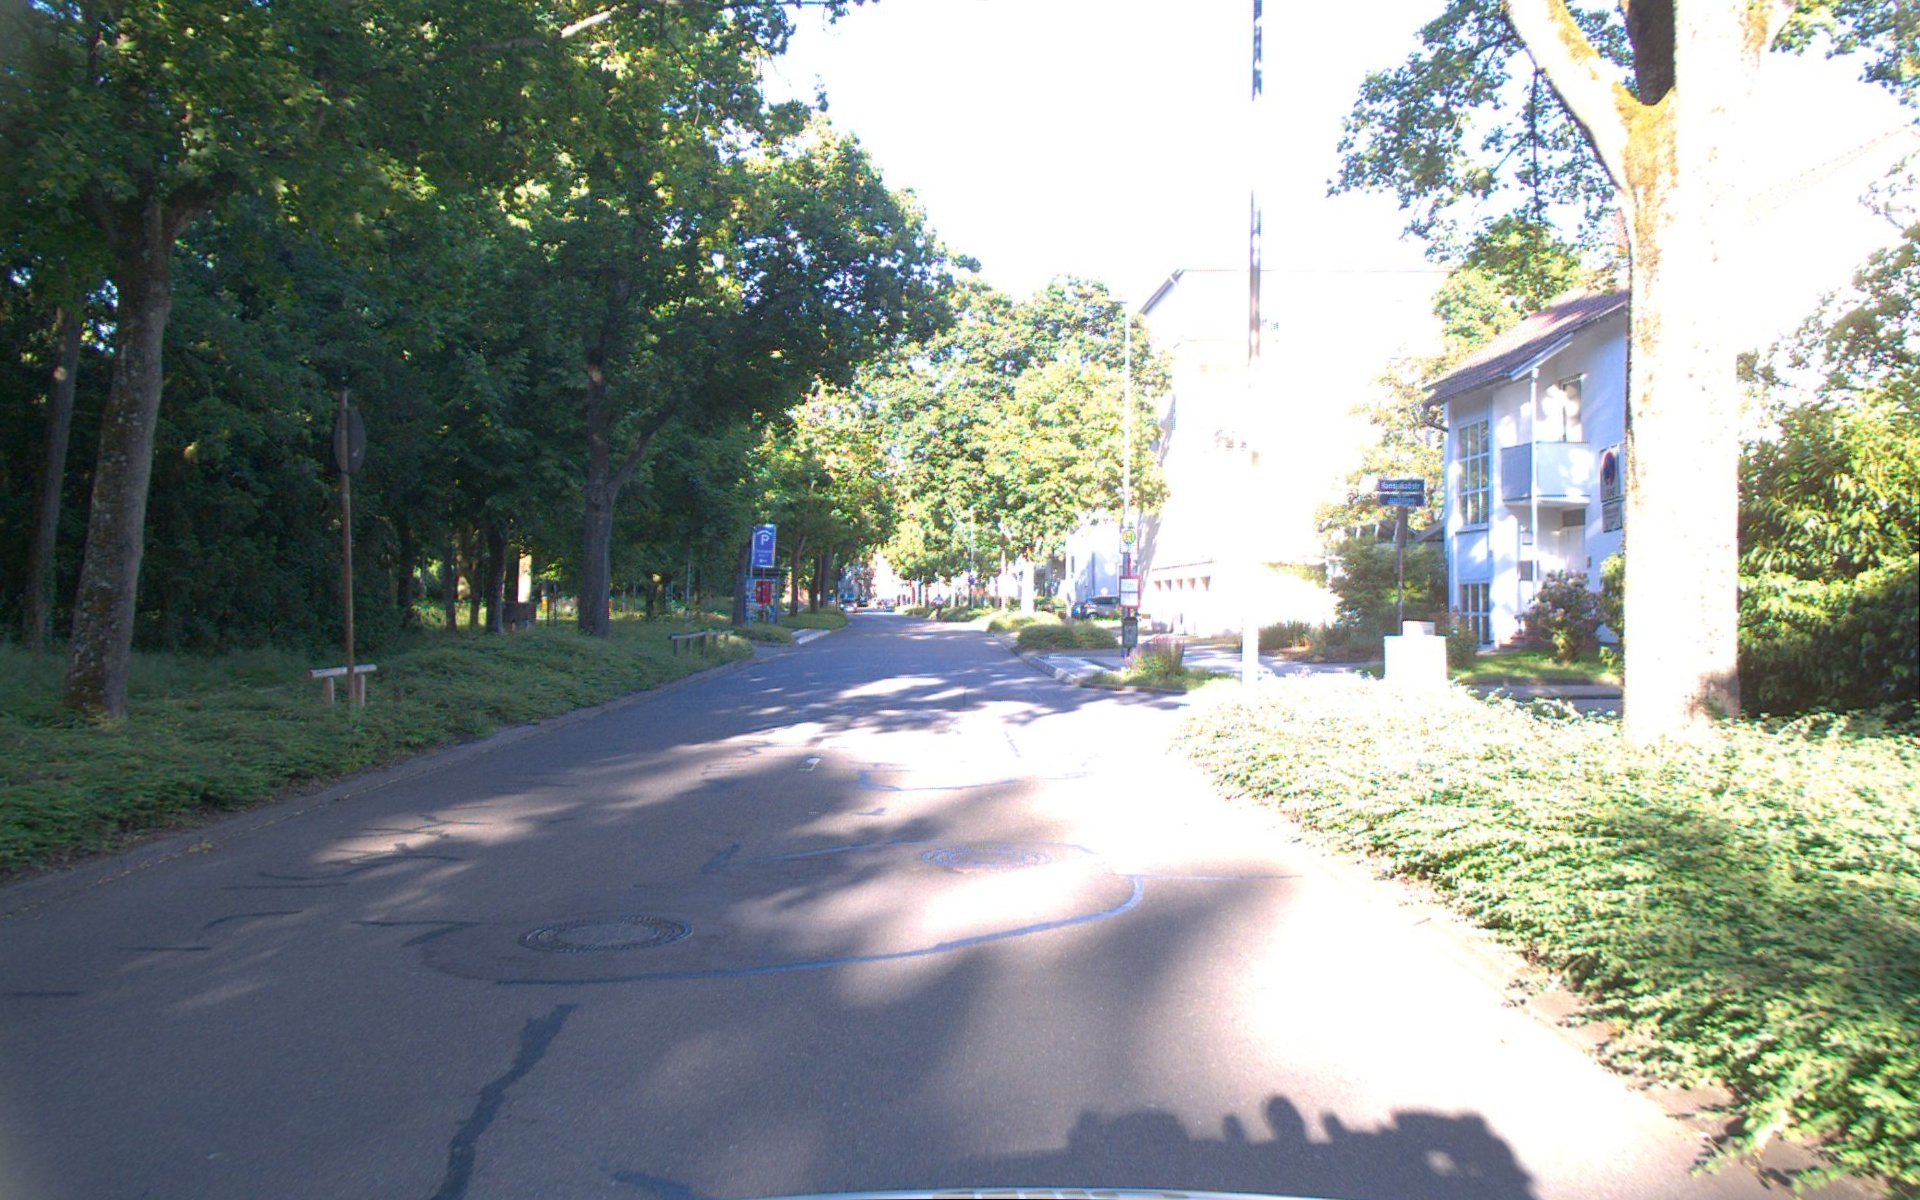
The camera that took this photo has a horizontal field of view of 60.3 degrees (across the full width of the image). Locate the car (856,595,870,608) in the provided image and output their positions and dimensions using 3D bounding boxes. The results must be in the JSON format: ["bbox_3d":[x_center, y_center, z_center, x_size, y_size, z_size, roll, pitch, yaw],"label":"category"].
[{"bbox_3d":[-15.262,0.199,260.770,1.778,1.959,3.992,1,0,-9],"label":"car"}]

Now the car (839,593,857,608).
[{"bbox_3d":[-11.983,0.049,176.937,1.808,1.606,4.332,-2,0,-4],"label":"car"}]

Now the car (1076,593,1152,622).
[{"bbox_3d":[8.541,0.433,91.796,3.961,1.541,1.725,1,-2,-5],"label":"car"}]

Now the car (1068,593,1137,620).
[{"bbox_3d":[8.576,0.375,99.634,3.910,1.609,1.808,0,1,-6],"label":"car"}]

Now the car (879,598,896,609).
[{"bbox_3d":[-10.163,0.456,232.434,1.780,1.527,3.987,0,0,-12],"label":"car"}]
